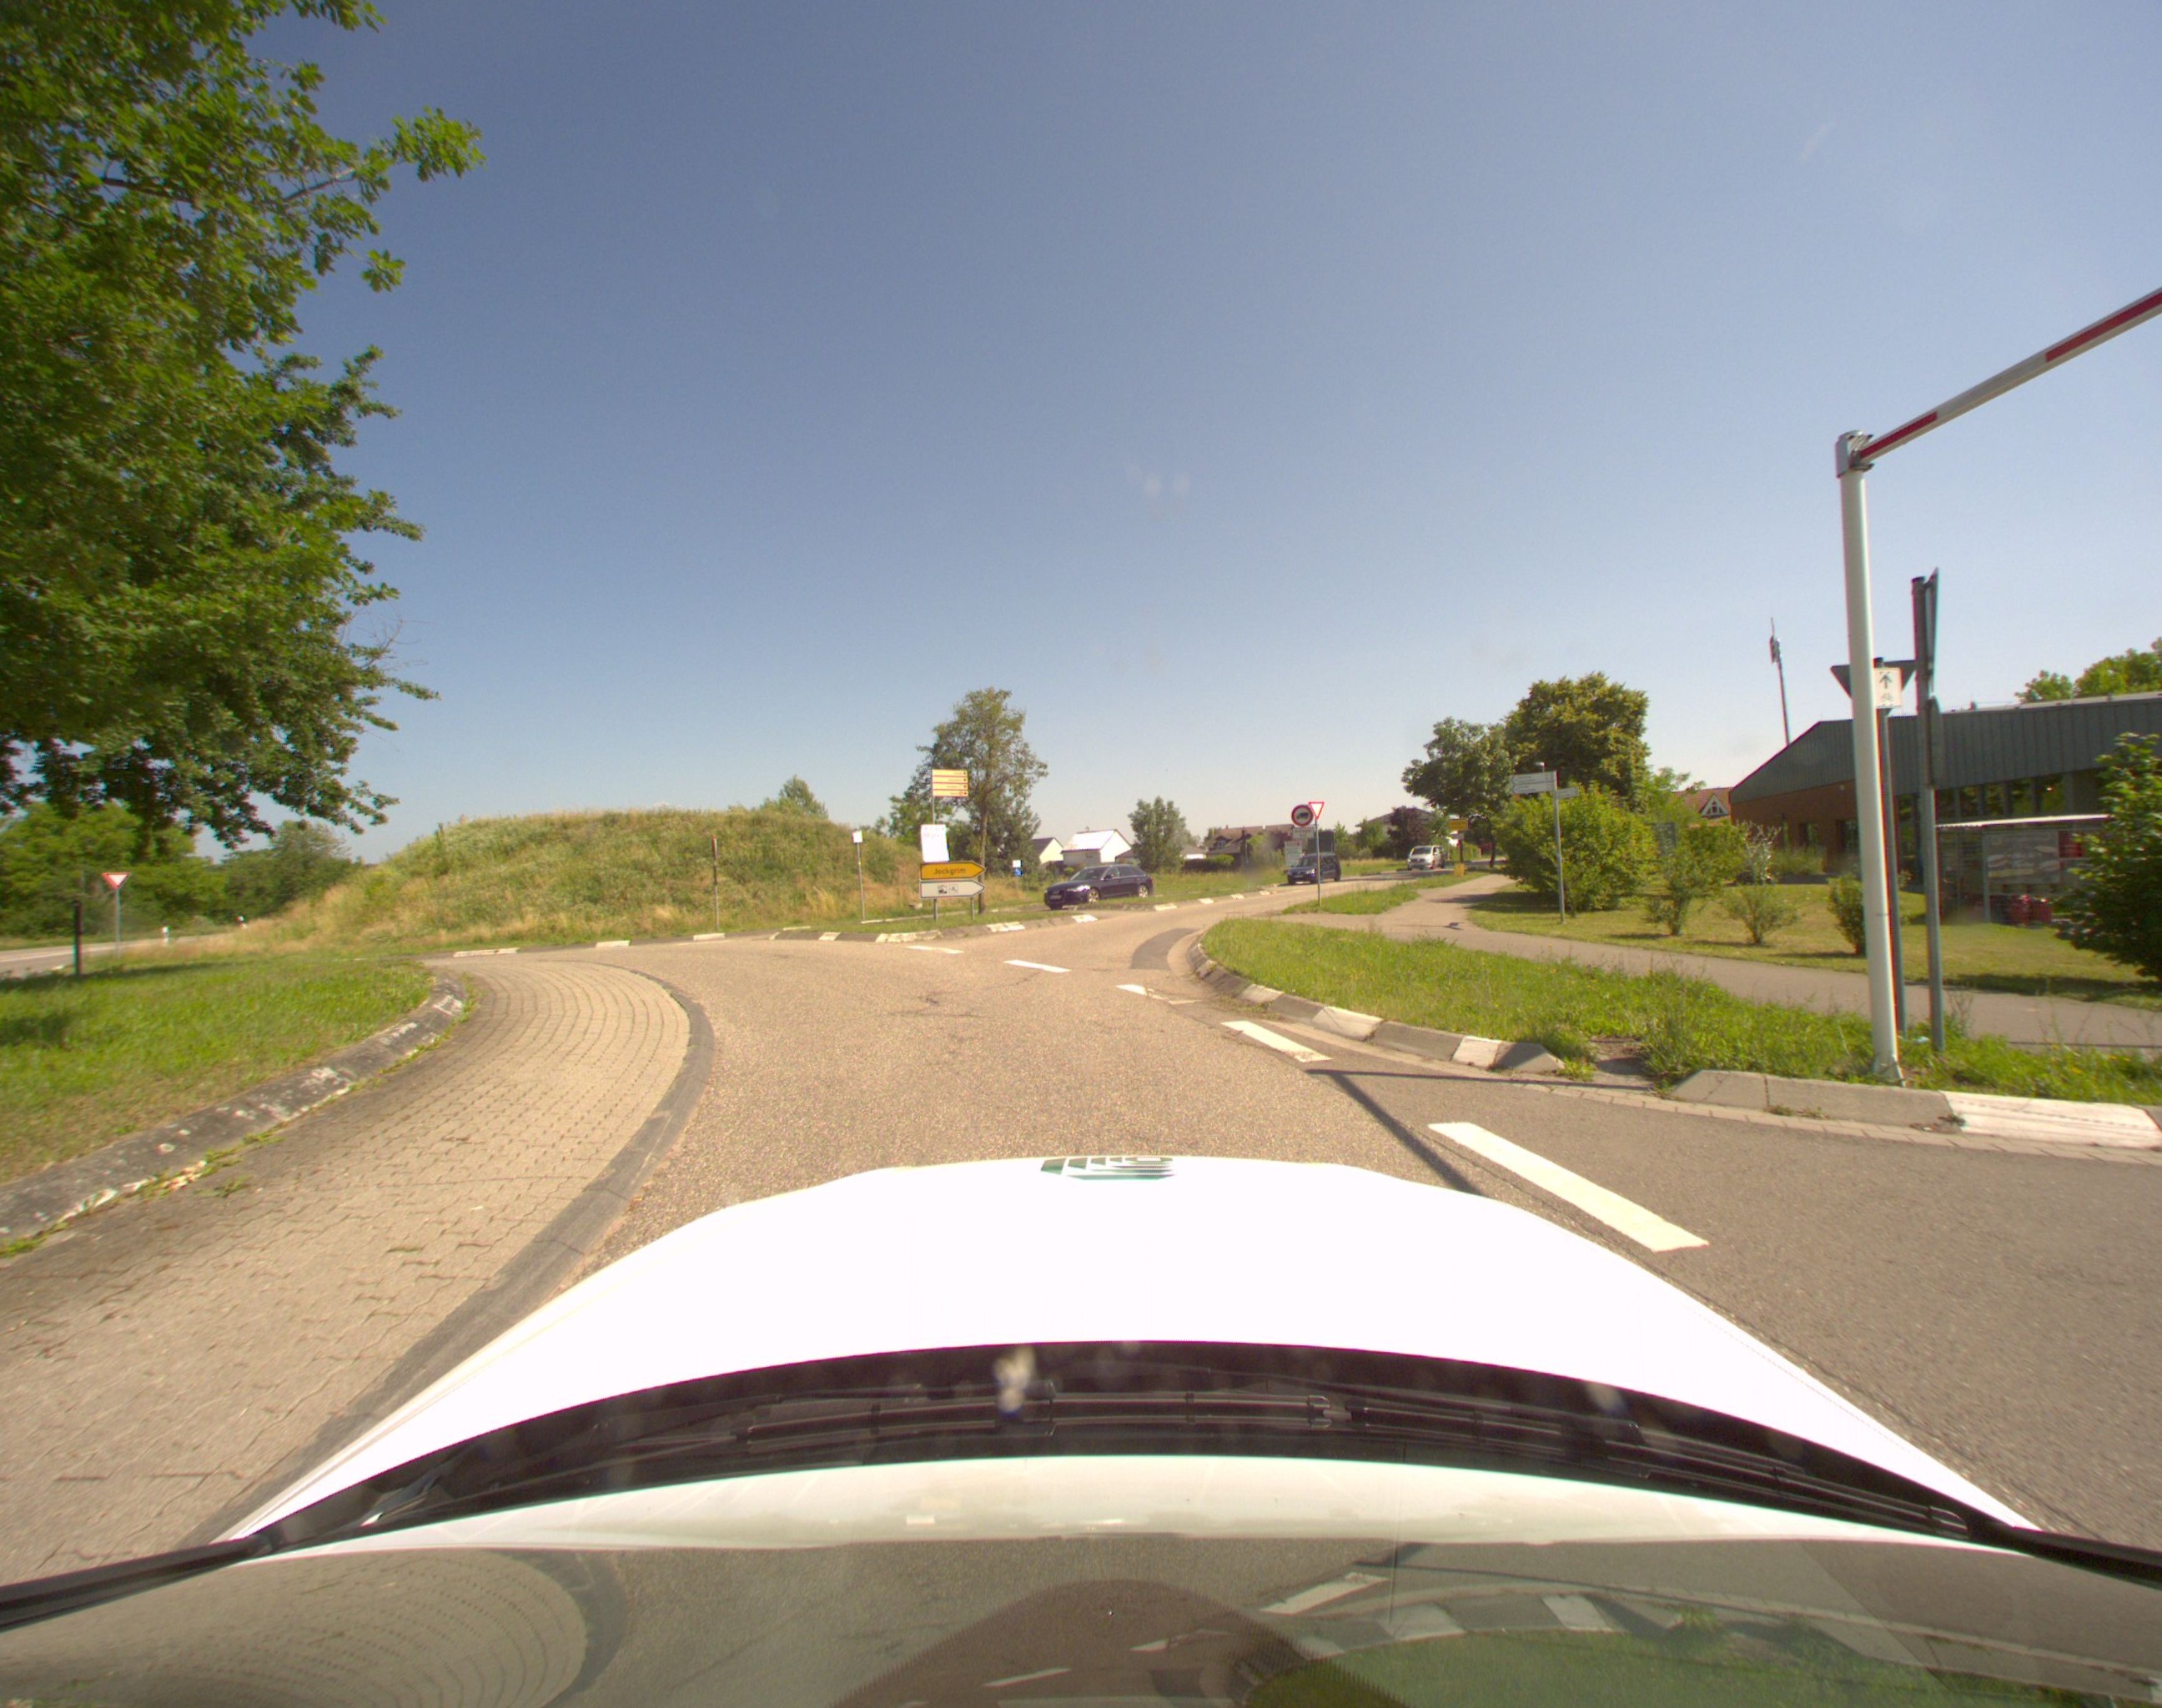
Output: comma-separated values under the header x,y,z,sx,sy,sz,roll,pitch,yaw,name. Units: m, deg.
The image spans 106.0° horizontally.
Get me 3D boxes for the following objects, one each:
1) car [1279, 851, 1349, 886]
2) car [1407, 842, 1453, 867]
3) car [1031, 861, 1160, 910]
x,y,z,sx,sy,sz,roll,pitch,yaw,name
12.828,0.766,44.674,1.792,1.641,4.684,-8,-5,40,car
27.168,0.029,63.275,1.974,1.816,5.234,-3,-1,37,car
0.622,1.079,29.110,1.898,1.434,4.943,-7,-4,38,car
